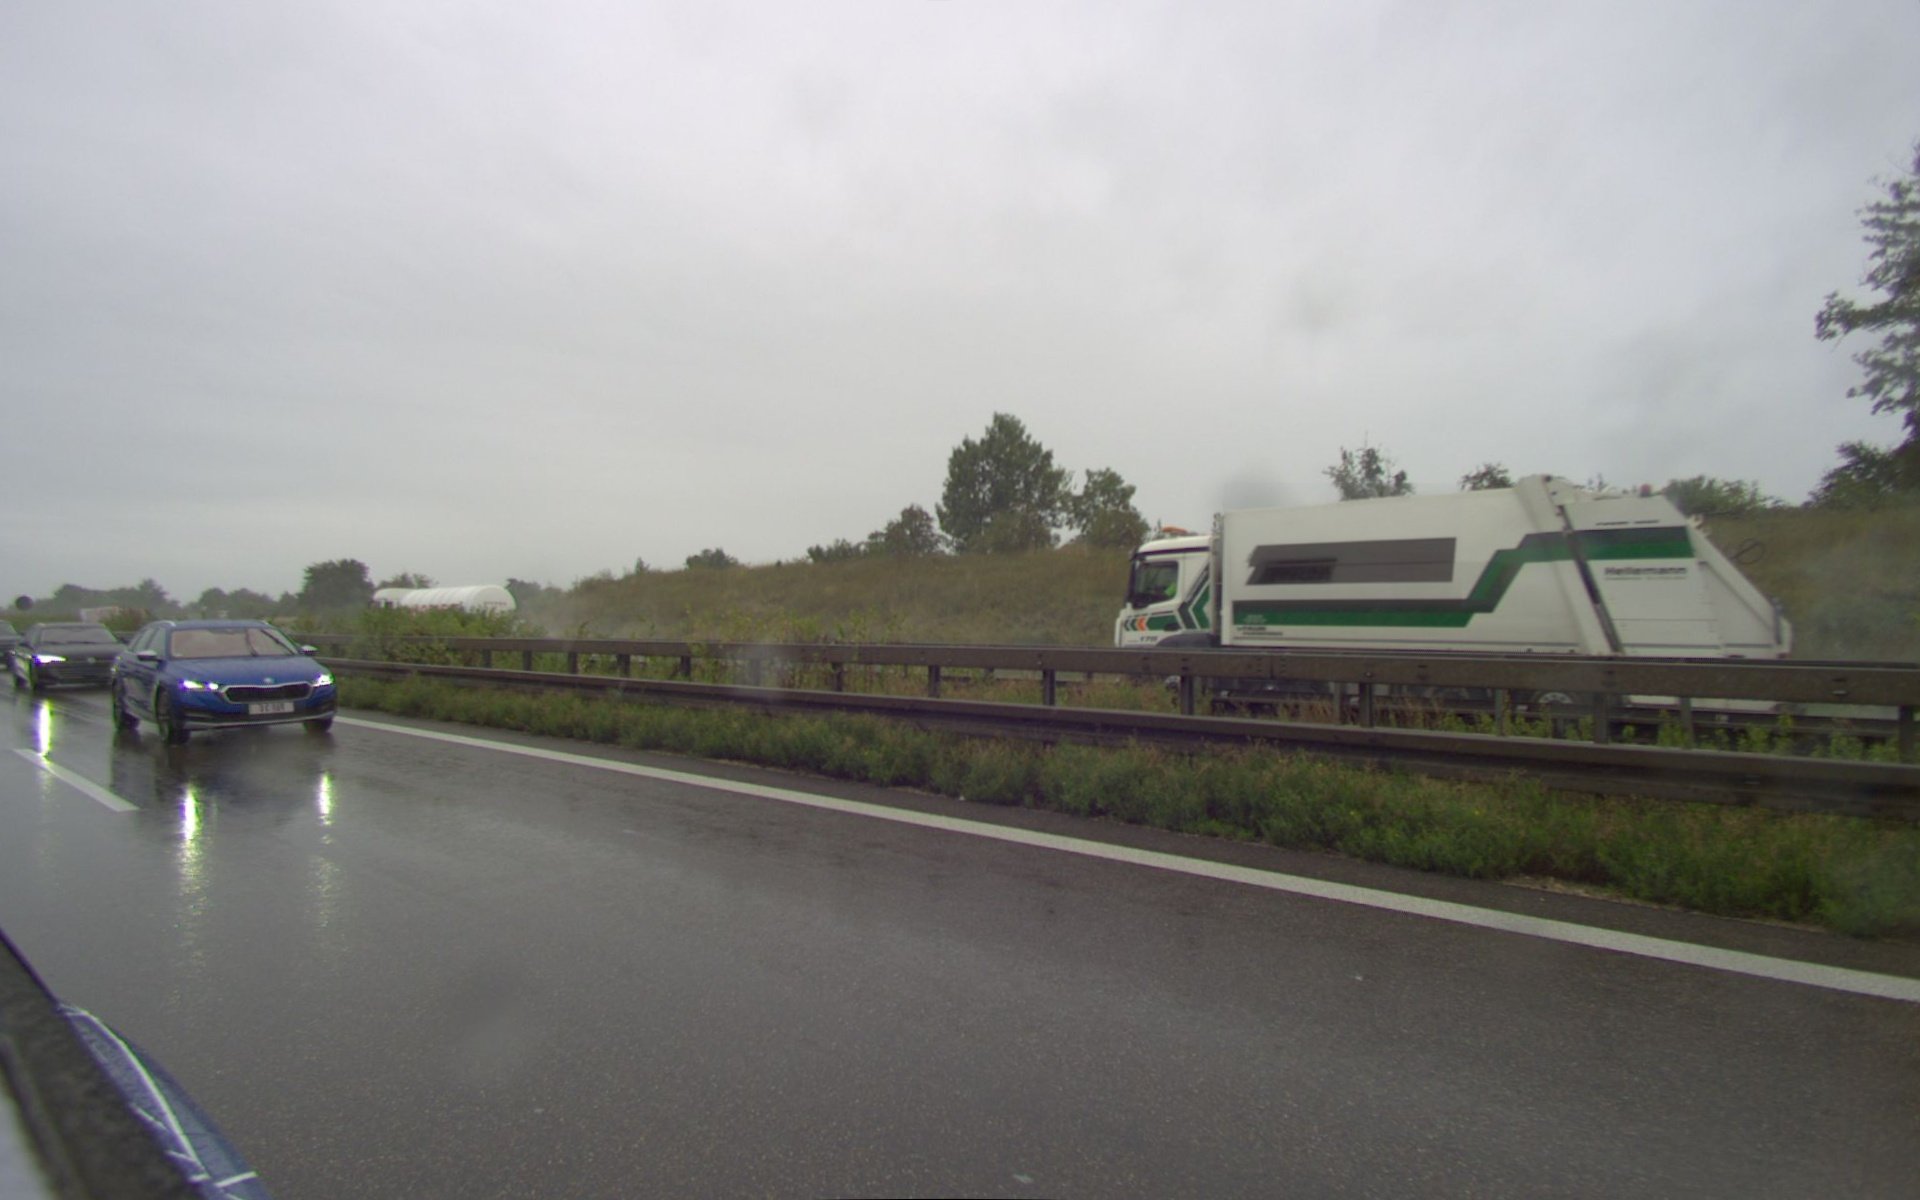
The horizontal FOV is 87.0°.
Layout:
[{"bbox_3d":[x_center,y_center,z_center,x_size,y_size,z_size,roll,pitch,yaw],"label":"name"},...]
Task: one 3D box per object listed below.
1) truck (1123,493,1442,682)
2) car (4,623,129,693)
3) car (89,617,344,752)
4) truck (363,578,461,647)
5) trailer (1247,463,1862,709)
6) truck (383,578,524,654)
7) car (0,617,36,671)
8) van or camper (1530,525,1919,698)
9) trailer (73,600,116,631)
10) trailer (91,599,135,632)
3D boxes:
[{"bbox_3d":[5.372,-0.152,17.134,4.526,2.740,2.455,0,-2,42],"label":"truck"},{"bbox_3d":[-20.573,1.281,23.241,4.368,1.447,1.592,-2,-1,41],"label":"car"},{"bbox_3d":[-9.927,0.997,13.381,4.509,1.487,1.768,-2,-1,41],"label":"car"},{"bbox_3d":[-27.842,0.651,51.346,5.194,3.305,2.515,0,-2,40],"label":"truck"},{"bbox_3d":[8.132,-0.135,14.652,7.322,2.740,2.455,0,-2,42],"label":"trailer"},{"bbox_3d":[-24.324,0.720,48.299,9.343,3.323,2.528,0,-2,41],"label":"truck"},{"bbox_3d":[-31.574,1.419,32.835,4.266,1.644,1.865,-2,-1,40],"label":"car"},{"bbox_3d":[7.835,0.127,9.682,3.847,1.423,1.974,-2,-2,39],"label":"van or camper"},{"bbox_3d":[-89.958,1.666,105.113,9.549,3.105,1.973,-2,-1,41],"label":"trailer"},{"bbox_3d":[-82.975,1.521,99.076,8.866,3.105,1.973,-2,-1,41],"label":"trailer"}]
